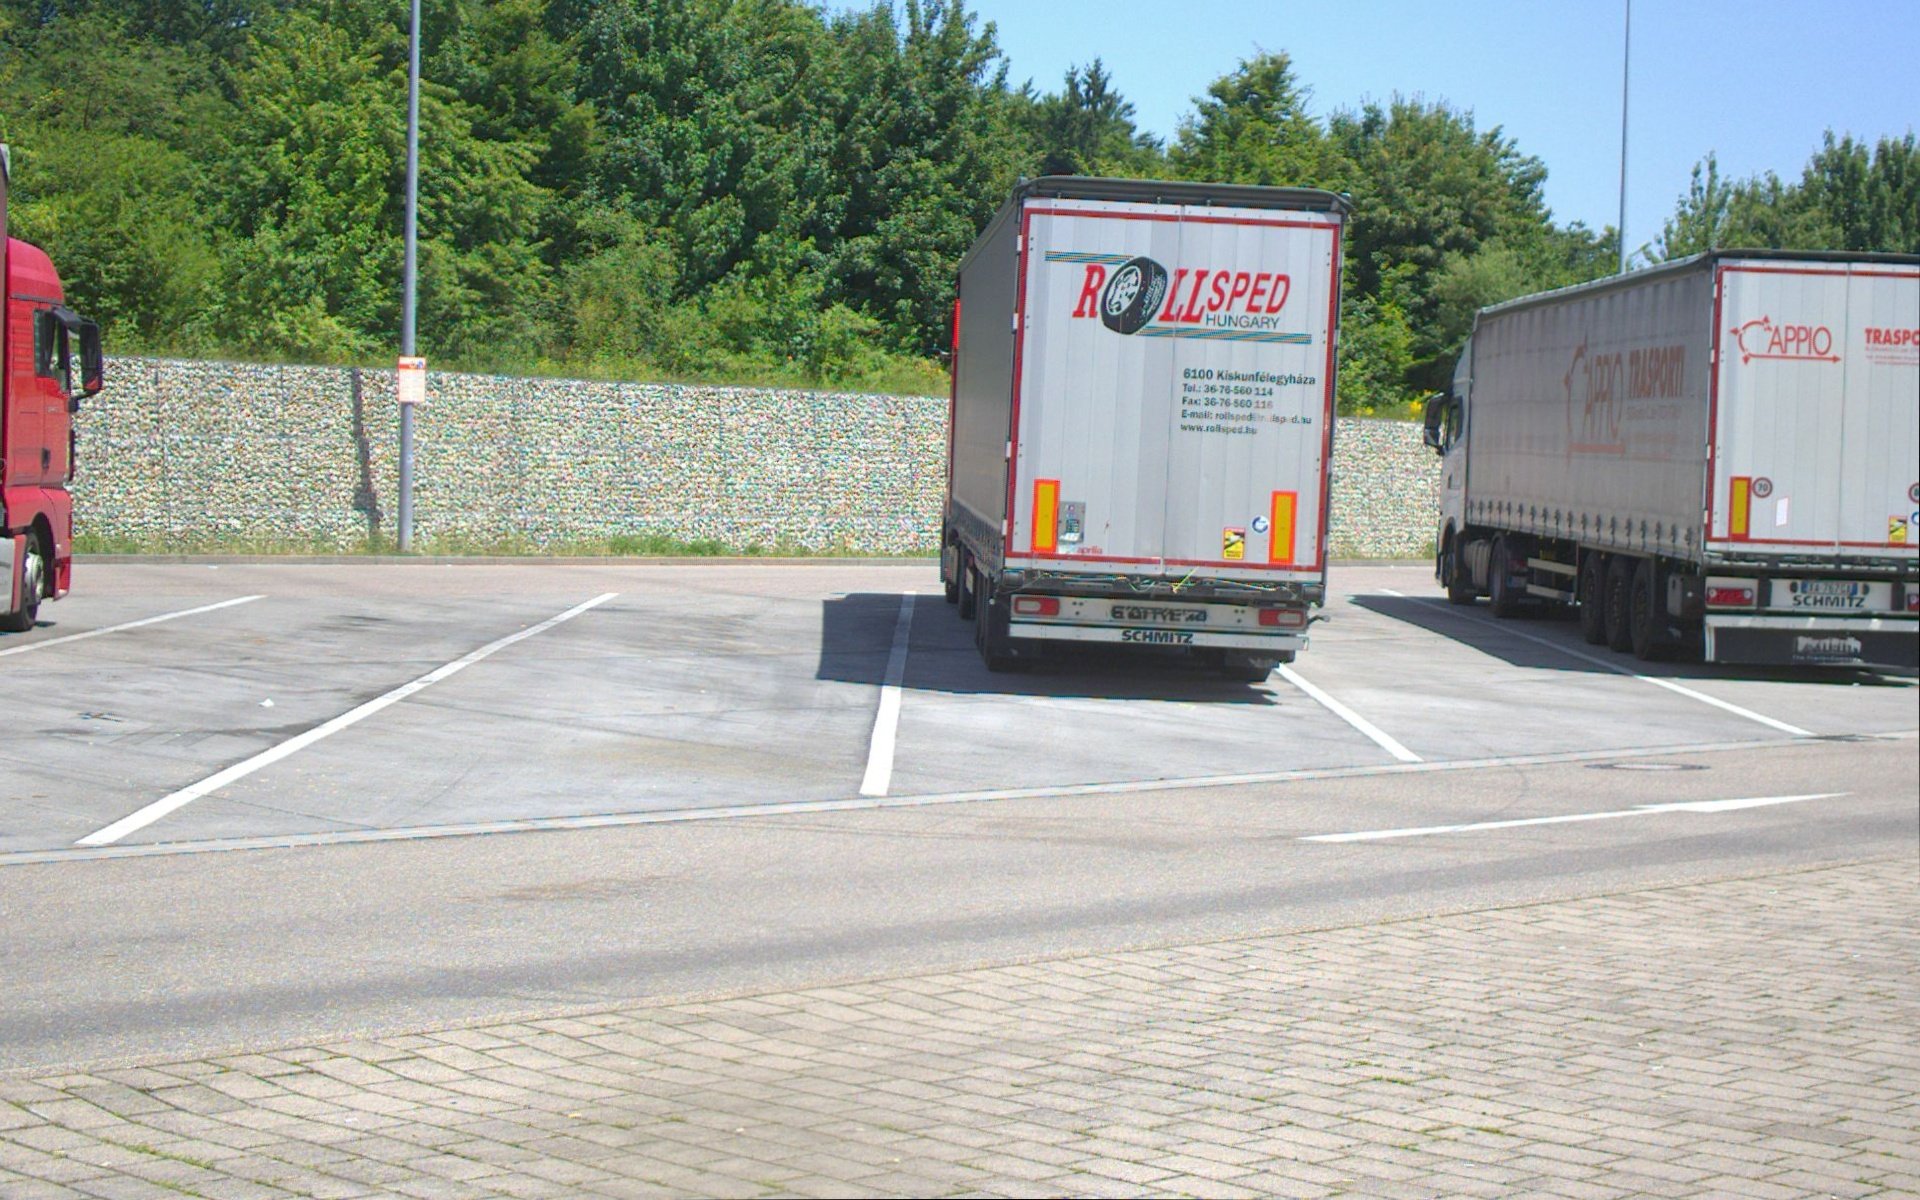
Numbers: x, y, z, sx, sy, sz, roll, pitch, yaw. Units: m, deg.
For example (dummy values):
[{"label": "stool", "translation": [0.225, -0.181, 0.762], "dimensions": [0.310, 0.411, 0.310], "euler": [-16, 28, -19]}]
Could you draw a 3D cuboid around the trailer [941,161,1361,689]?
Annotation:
[{"label": "trailer", "translation": [1.428, -1.512, 31.928], "dimensions": [2.897, 4.000, 11.319], "euler": [1, 2, -2]}]

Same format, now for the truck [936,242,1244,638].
[{"label": "truck", "translation": [1.294, -1.709, 37.766], "dimensions": [2.871, 3.967, 6.030], "euler": [1, 2, -2]}]

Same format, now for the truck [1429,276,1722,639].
[{"label": "truck", "translation": [7.979, -1.845, 45.273], "dimensions": [2.661, 4.437, 5.864], "euler": [1, 2, -1]}]

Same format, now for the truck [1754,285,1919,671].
[{"label": "truck", "translation": [11.730, -1.328, 38.767], "dimensions": [2.587, 4.211, 11.971], "euler": [1, 1, -1]}]

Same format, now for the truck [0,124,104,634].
[{"label": "truck", "translation": [-9.172, -1.812, 28.355], "dimensions": [2.805, 4.119, 5.894], "euler": [1, 2, -1]}]

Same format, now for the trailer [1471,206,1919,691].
[{"label": "trailer", "translation": [8.116, -1.593, 38.078], "dimensions": [2.681, 4.437, 12.831], "euler": [1, 2, -1]}]
